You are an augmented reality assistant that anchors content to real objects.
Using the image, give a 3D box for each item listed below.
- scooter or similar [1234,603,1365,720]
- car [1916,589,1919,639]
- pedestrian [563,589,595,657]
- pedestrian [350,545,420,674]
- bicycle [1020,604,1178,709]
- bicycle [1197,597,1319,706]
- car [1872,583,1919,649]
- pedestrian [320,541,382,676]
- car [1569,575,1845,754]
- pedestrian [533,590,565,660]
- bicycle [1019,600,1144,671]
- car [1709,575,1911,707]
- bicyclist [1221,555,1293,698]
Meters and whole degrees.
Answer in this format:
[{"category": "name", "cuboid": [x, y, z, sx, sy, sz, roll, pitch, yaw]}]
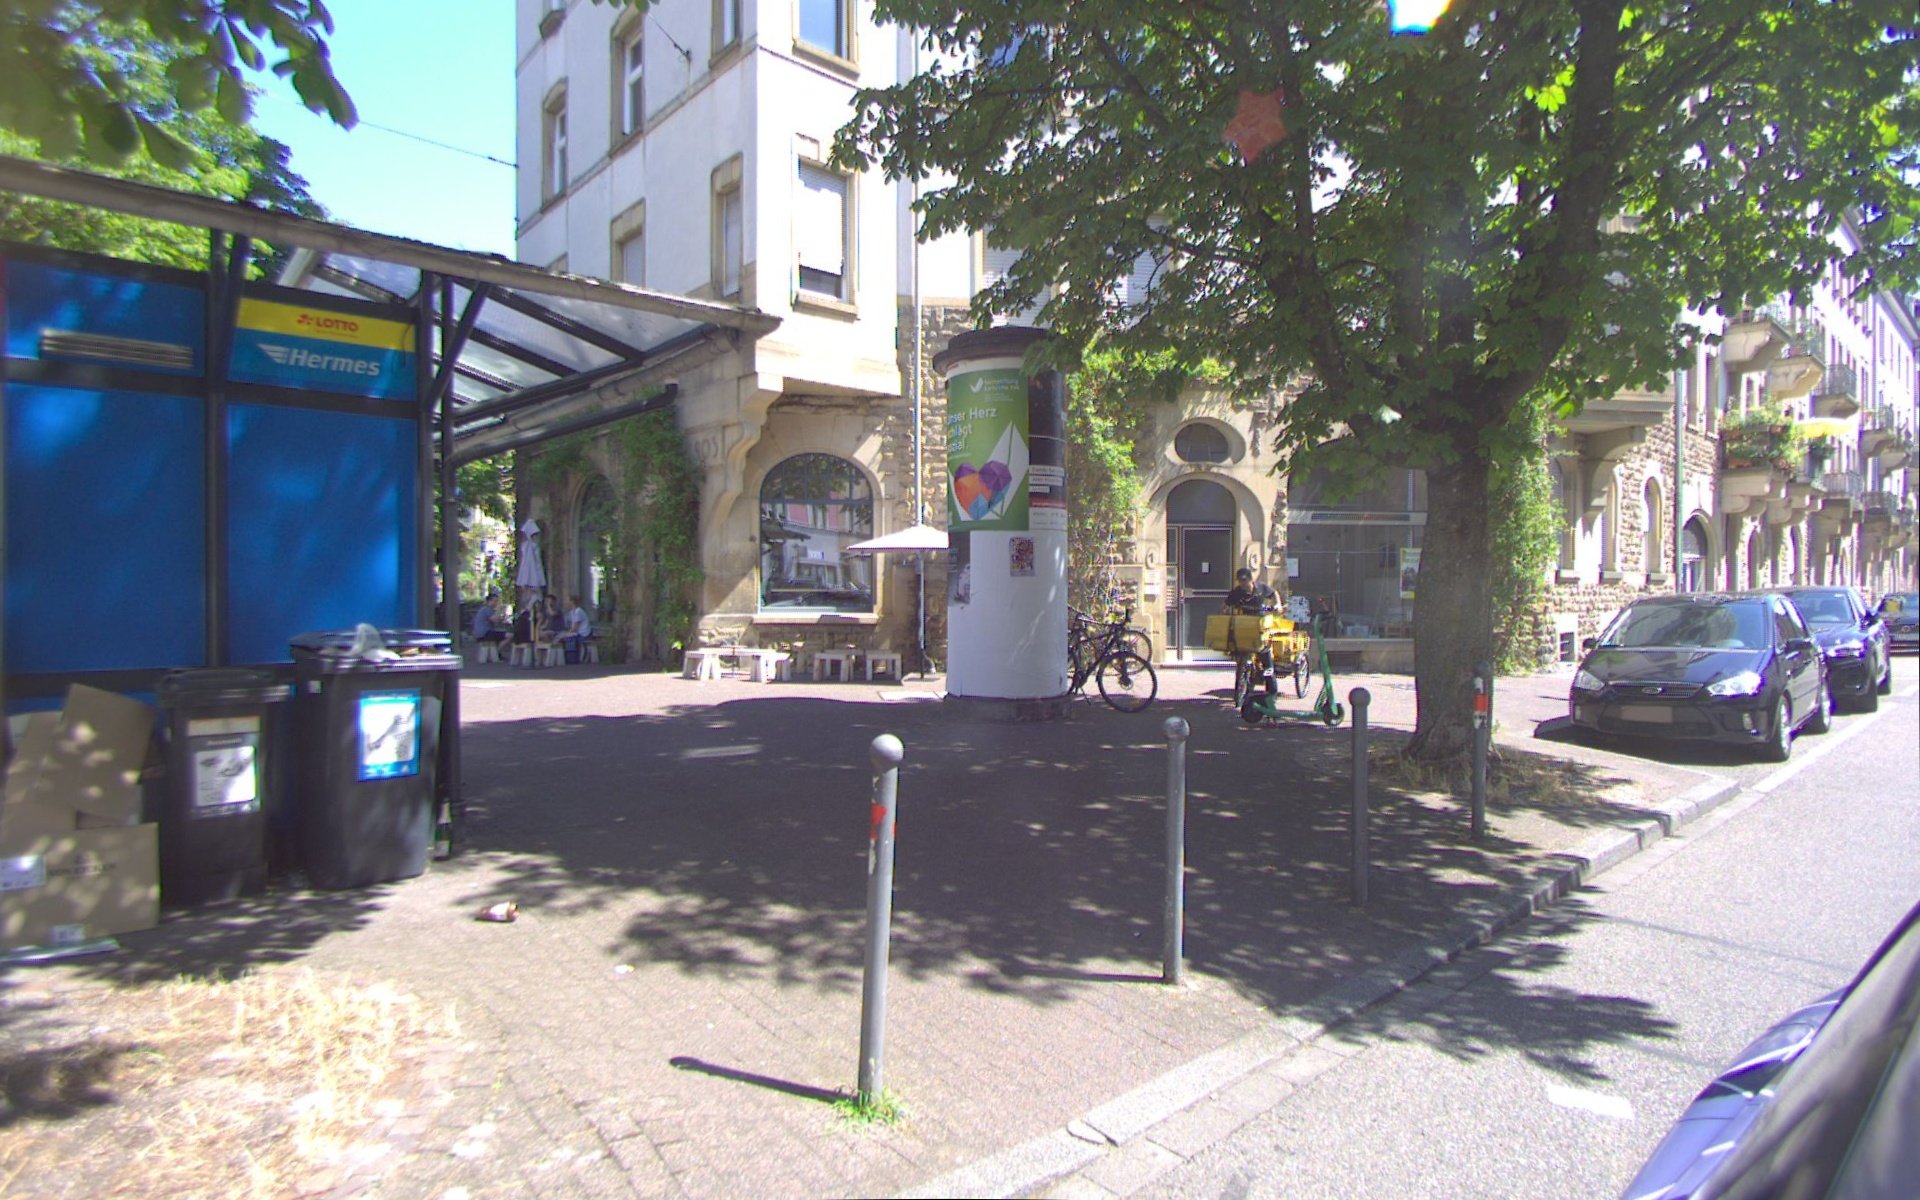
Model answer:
[{"category": "scooter or similar", "cuboid": [3.424, 0.611, 10.243, 1.161, 1.150, 0.444, 0, 1, -4]}, {"category": "car", "cuboid": [29.209, 0.377, 29.613, 3.906, 1.416, 1.513, -1, -1, -43]}, {"category": "pedestrian", "cuboid": [-6.826, 0.403, 18.138, 0.406, 1.197, 0.444, 0, 1, -40]}, {"category": "pedestrian", "cuboid": [-8.740, 0.126, 15.377, 0.876, 1.903, 0.594, 0, 1, 33]}, {"category": "bicycle", "cuboid": [1.589, 0.615, 11.842, 0.623, 1.052, 1.904, 0, 2, -40]}, {"category": "bicycle", "cuboid": [3.804, 0.579, 12.750, 0.790, 1.183, 2.548, 1, 2, 33]}, {"category": "car", "cuboid": [24.856, 0.353, 25.873, 4.527, 1.587, 1.835, -1, -1, -43]}, {"category": "pedestrian", "cuboid": [-8.761, 0.111, 14.567, 0.648, 1.892, 0.515, 0, 1, 30]}, {"category": "car", "cuboid": [8.120, 0.561, 10.853, 4.108, 1.560, 1.664, -1, -1, -44]}, {"category": "pedestrian", "cuboid": [-7.217, 0.428, 17.777, 0.406, 1.197, 0.444, 0, 1, -40]}, {"category": "bicycle", "cuboid": [1.850, 0.538, 15.498, 1.799, 1.052, 0.550, 0, 1, -8]}, {"category": "car", "cuboid": [12.247, 0.499, 14.479, 4.276, 1.617, 1.737, -1, -1, -44]}, {"category": "bicyclist", "cuboid": [3.608, 0.298, 12.280, 0.674, 1.668, 0.654, 1, 1, 31]}]
